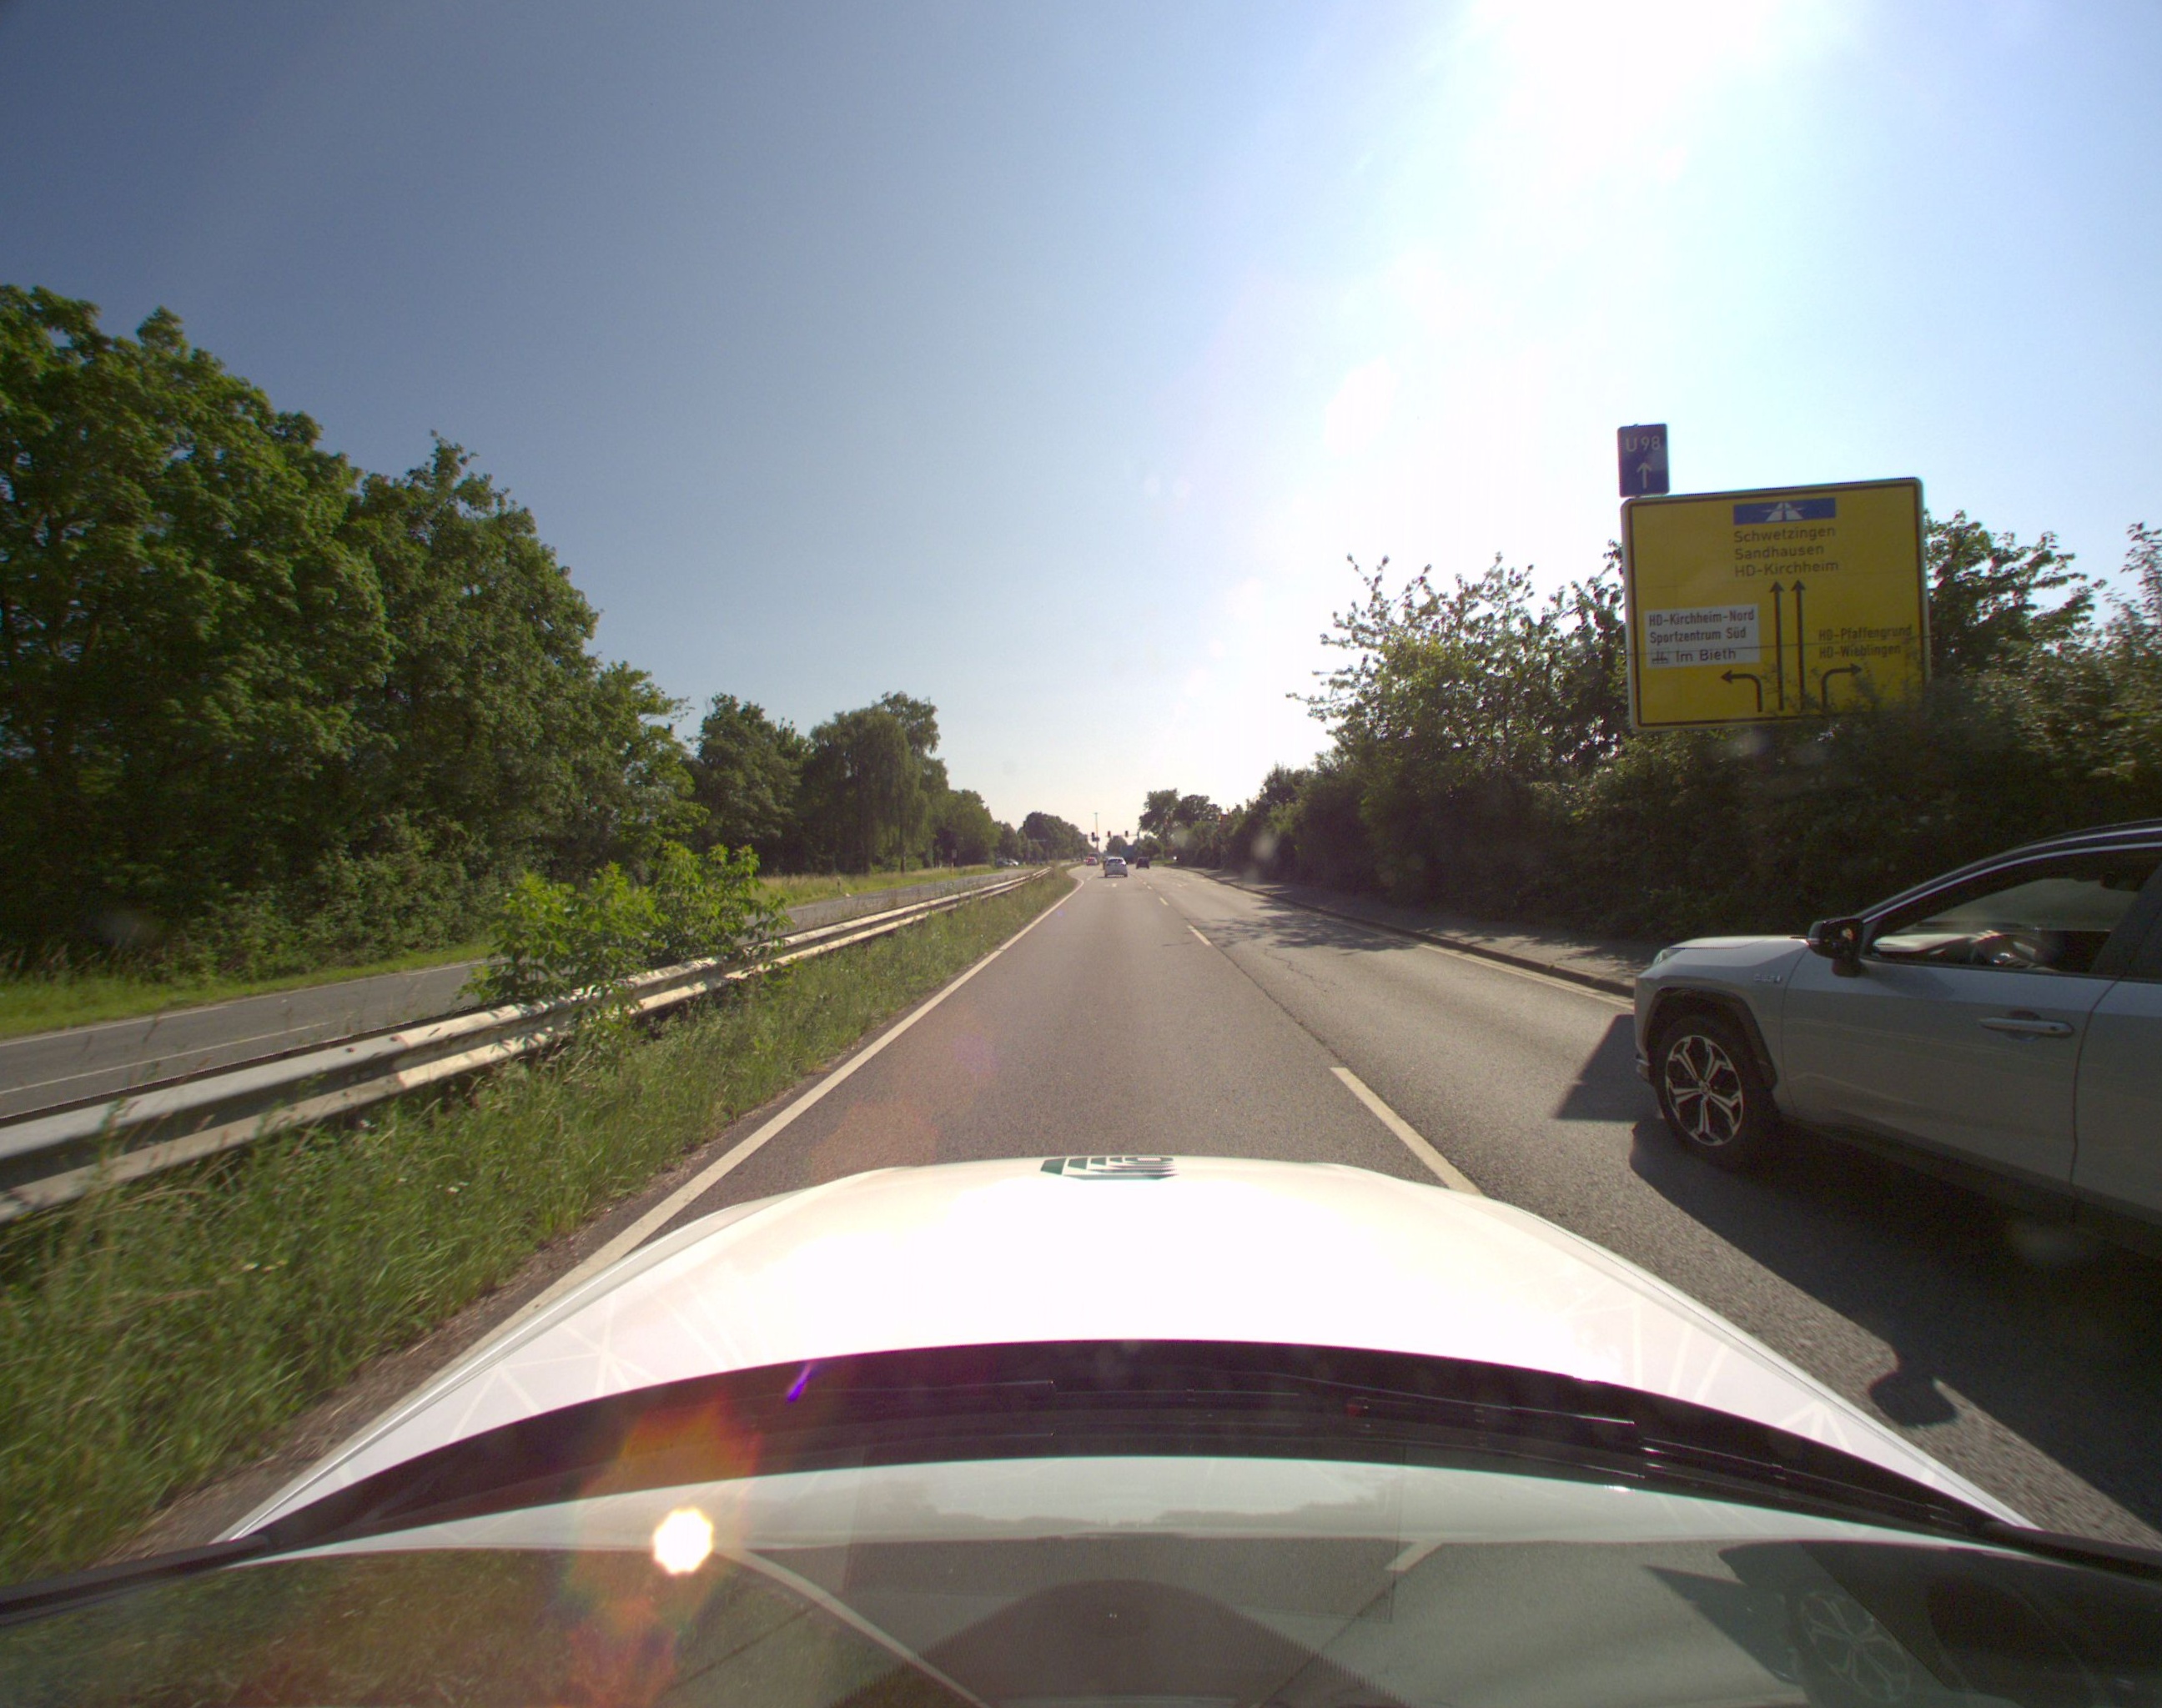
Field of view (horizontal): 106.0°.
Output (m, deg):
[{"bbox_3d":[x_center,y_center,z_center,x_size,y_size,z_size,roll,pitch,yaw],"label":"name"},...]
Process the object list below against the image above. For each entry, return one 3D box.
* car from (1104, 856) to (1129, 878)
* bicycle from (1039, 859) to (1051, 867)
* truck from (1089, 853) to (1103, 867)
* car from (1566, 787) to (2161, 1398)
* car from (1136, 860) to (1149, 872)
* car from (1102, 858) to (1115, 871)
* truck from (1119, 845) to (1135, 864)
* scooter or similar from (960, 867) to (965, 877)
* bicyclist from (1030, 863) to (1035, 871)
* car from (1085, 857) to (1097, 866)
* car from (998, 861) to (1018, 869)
[{"bbox_3d":[2.693,0.984,61.111,1.791,1.553,4.003,-1,0,3],"label":"car"},{"bbox_3d":[-8.719,2.204,198.571,2.765,1.670,1.143,-2,-1,29],"label":"bicycle"},{"bbox_3d":[2.830,1.114,154.093,2.364,2.389,6.045,1,0,3],"label":"truck"},{"bbox_3d":[3.937,0.657,2.781,1.895,1.680,4.685,0,0,2],"label":"car"},{"bbox_3d":[7.674,1.539,102.015,1.566,1.414,3.279,-1,-1,2],"label":"car"},{"bbox_3d":[3.286,1.284,97.849,1.566,1.415,3.278,0,-2,2],"label":"car"},{"bbox_3d":[9.080,0.119,161.372,2.880,3.428,9.173,-2,0,2],"label":"truck"},{"bbox_3d":[-14.849,2.260,102.259,0.366,1.186,1.341,-4,-1,2],"label":"scooter or similar"},{"bbox_3d":[-10.075,2.643,167.901,0.842,1.517,0.748,-1,0,7],"label":"bicyclist"},{"bbox_3d":[1.801,1.372,147.004,1.804,1.464,4.975,0,-1,4],"label":"car"},{"bbox_3d":[-17.135,2.619,190.663,4.212,1.606,2.018,-3,-1,37],"label":"car"}]
